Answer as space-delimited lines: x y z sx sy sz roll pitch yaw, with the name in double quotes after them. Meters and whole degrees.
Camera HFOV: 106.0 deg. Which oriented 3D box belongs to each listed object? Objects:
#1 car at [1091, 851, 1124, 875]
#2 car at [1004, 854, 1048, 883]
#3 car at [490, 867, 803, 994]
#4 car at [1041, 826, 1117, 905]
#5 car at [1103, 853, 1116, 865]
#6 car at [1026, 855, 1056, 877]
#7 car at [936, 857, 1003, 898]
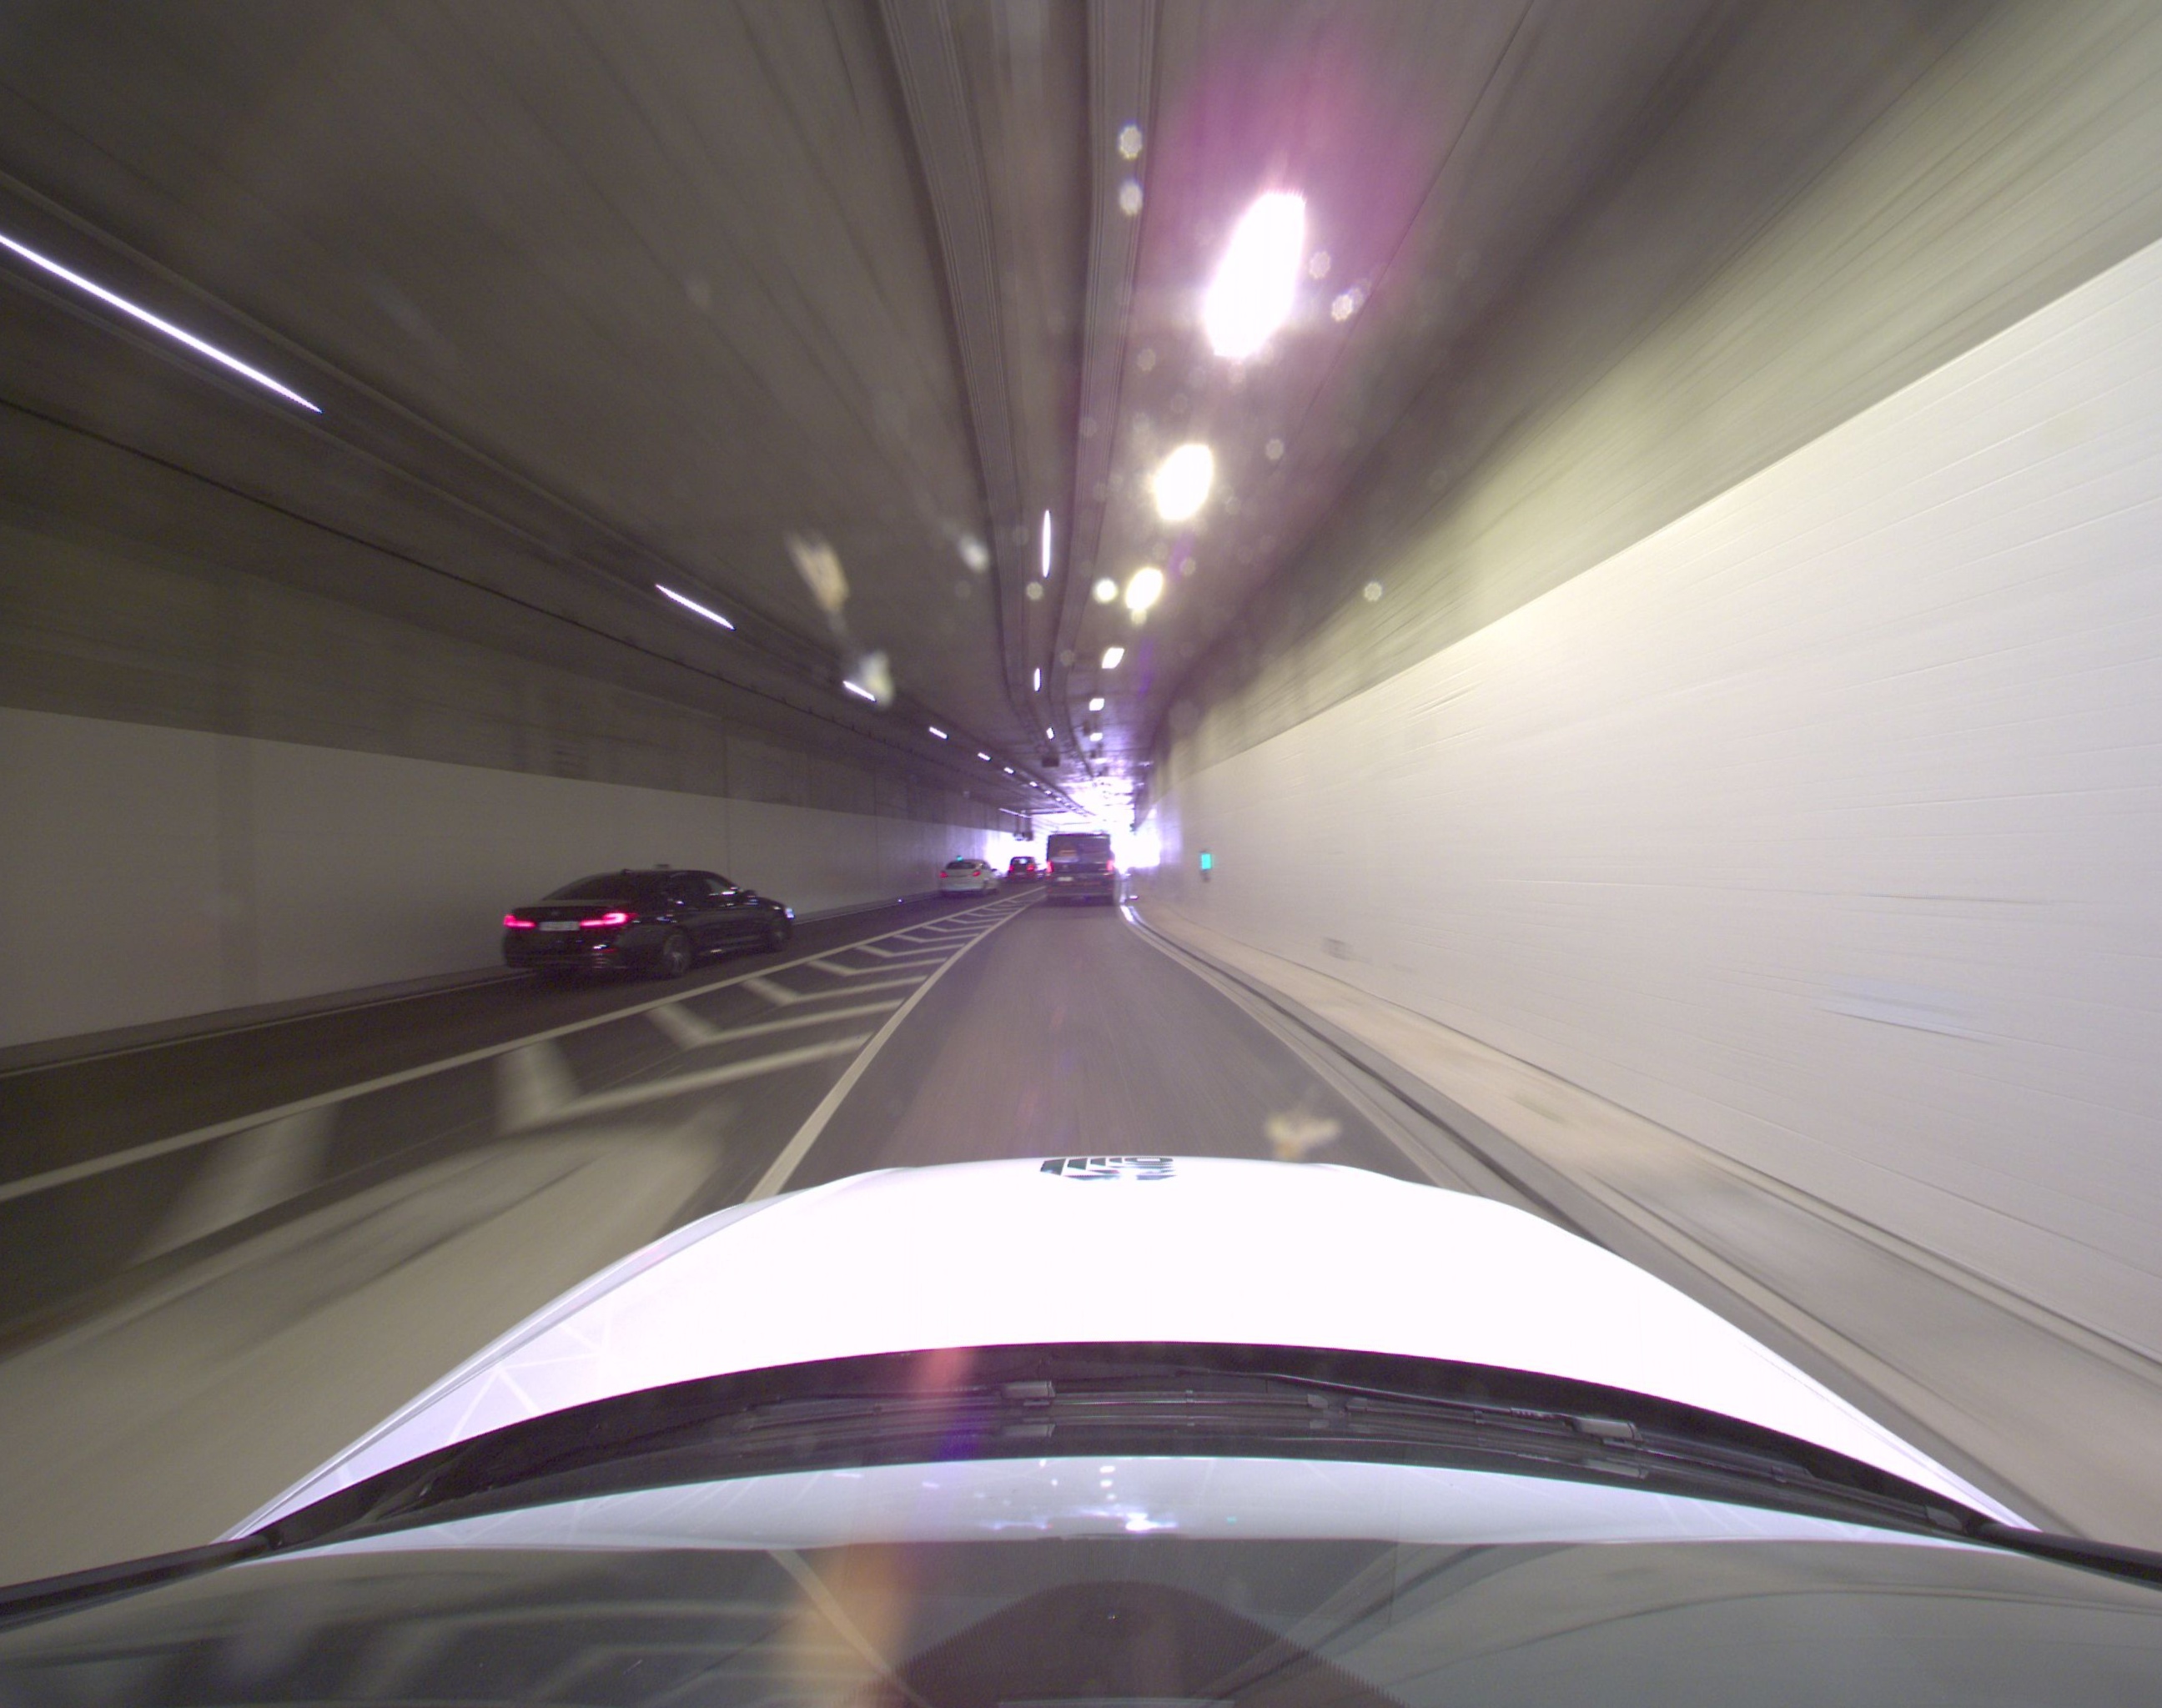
1.934 0.601 57.484 2.076 1.513 4.642 -2 0 4 "car"
-3.020 0.763 45.631 1.806 1.512 4.227 -1 0 5 "car"
-6.034 0.945 12.161 1.687 1.422 4.859 0 0 6 "car"
0.040 0.345 25.960 2.149 2.266 4.640 -1 0 3 "car"
4.057 0.723 116.488 1.869 1.625 4.221 -1 -1 2 "car"
-2.919 0.895 60.467 1.869 1.582 4.221 -1 -1 2 "car"
-4.242 0.879 31.648 1.701 1.413 3.980 -1 0 5 "car"
